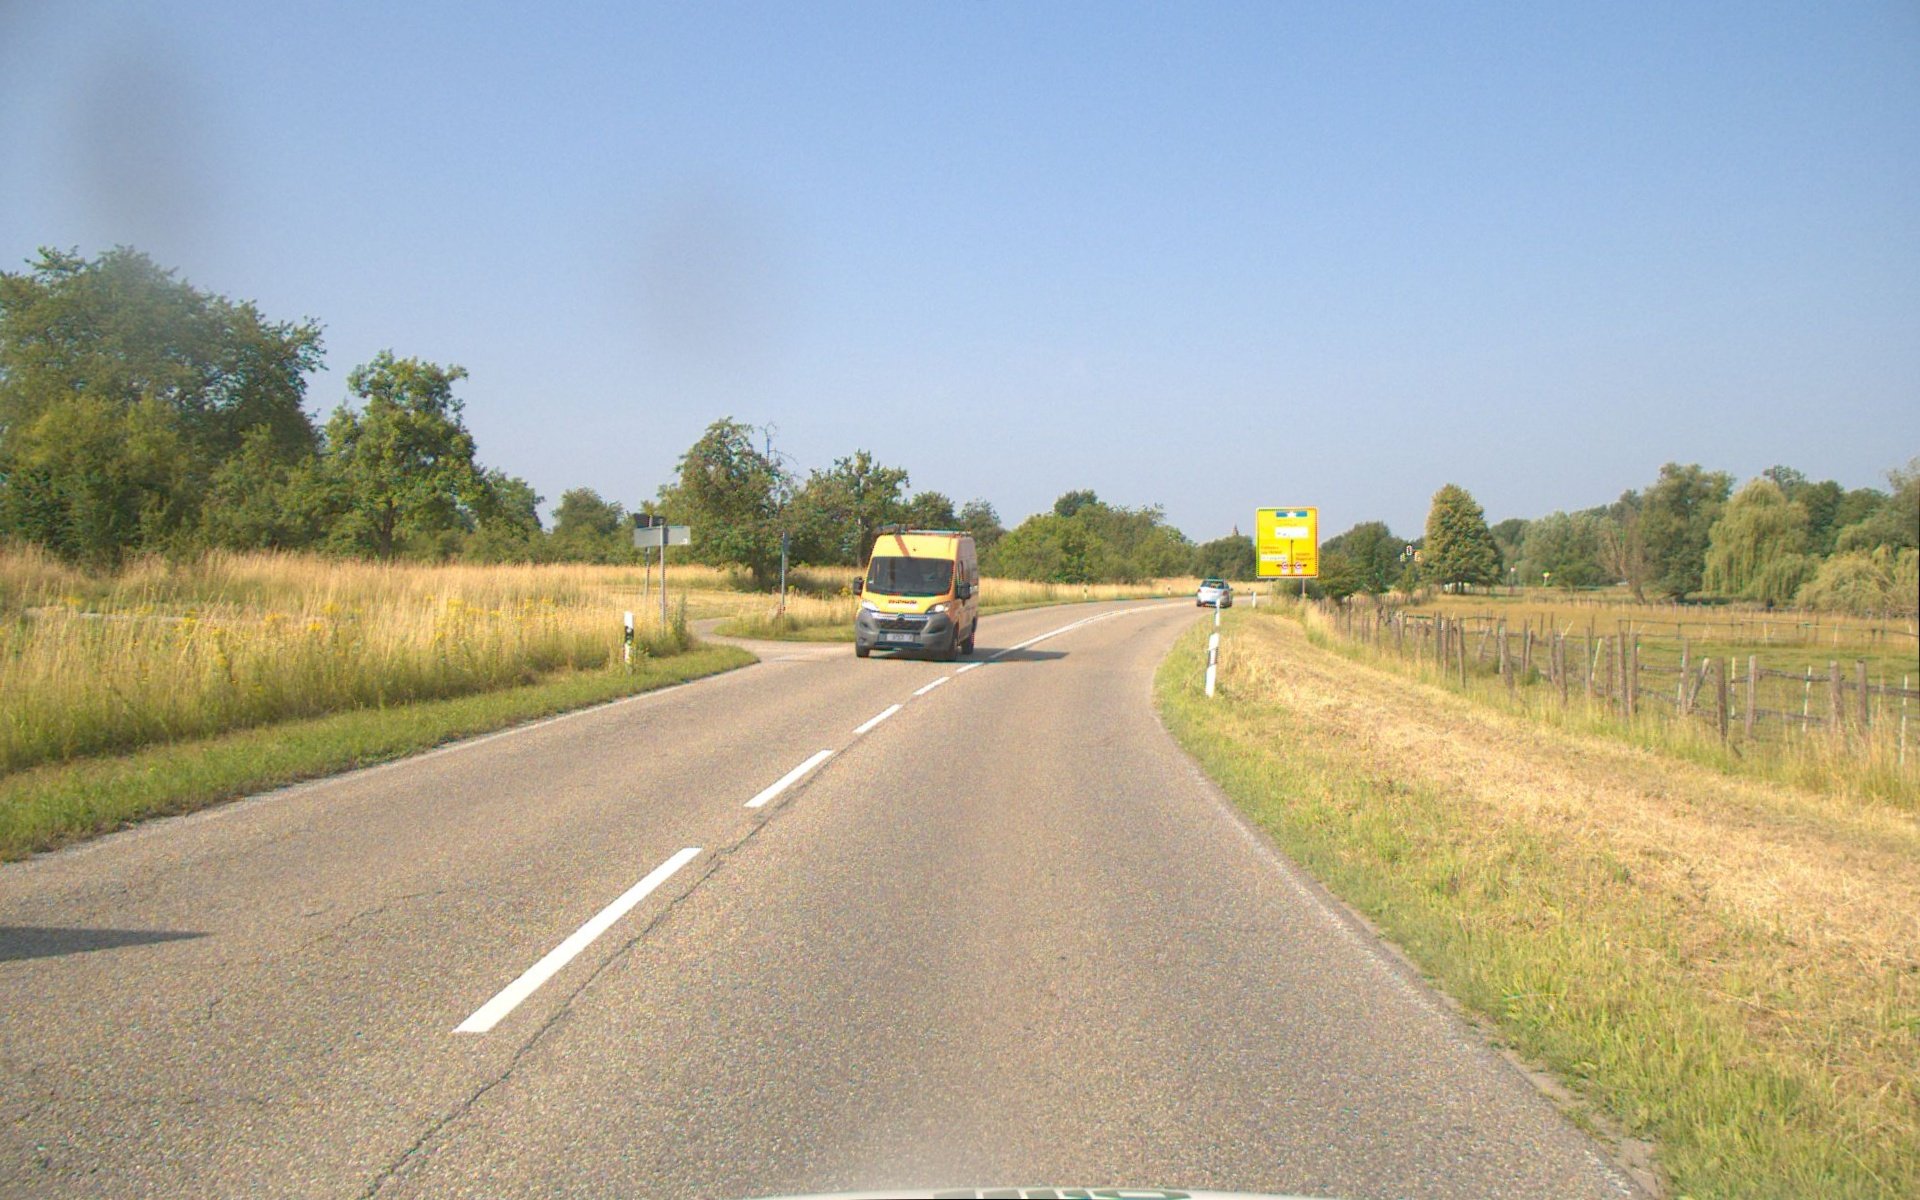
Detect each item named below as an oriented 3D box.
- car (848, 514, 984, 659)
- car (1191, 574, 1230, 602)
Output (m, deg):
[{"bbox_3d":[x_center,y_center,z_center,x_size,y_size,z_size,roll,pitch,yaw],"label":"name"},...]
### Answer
[{"bbox_3d":[-0.824,-0.287,34.694,2.079,2.743,5.272,1,1,6],"label":"car"},{"bbox_3d":[14.605,-0.680,96.405,1.859,1.538,4.003,2,1,14],"label":"car"}]
